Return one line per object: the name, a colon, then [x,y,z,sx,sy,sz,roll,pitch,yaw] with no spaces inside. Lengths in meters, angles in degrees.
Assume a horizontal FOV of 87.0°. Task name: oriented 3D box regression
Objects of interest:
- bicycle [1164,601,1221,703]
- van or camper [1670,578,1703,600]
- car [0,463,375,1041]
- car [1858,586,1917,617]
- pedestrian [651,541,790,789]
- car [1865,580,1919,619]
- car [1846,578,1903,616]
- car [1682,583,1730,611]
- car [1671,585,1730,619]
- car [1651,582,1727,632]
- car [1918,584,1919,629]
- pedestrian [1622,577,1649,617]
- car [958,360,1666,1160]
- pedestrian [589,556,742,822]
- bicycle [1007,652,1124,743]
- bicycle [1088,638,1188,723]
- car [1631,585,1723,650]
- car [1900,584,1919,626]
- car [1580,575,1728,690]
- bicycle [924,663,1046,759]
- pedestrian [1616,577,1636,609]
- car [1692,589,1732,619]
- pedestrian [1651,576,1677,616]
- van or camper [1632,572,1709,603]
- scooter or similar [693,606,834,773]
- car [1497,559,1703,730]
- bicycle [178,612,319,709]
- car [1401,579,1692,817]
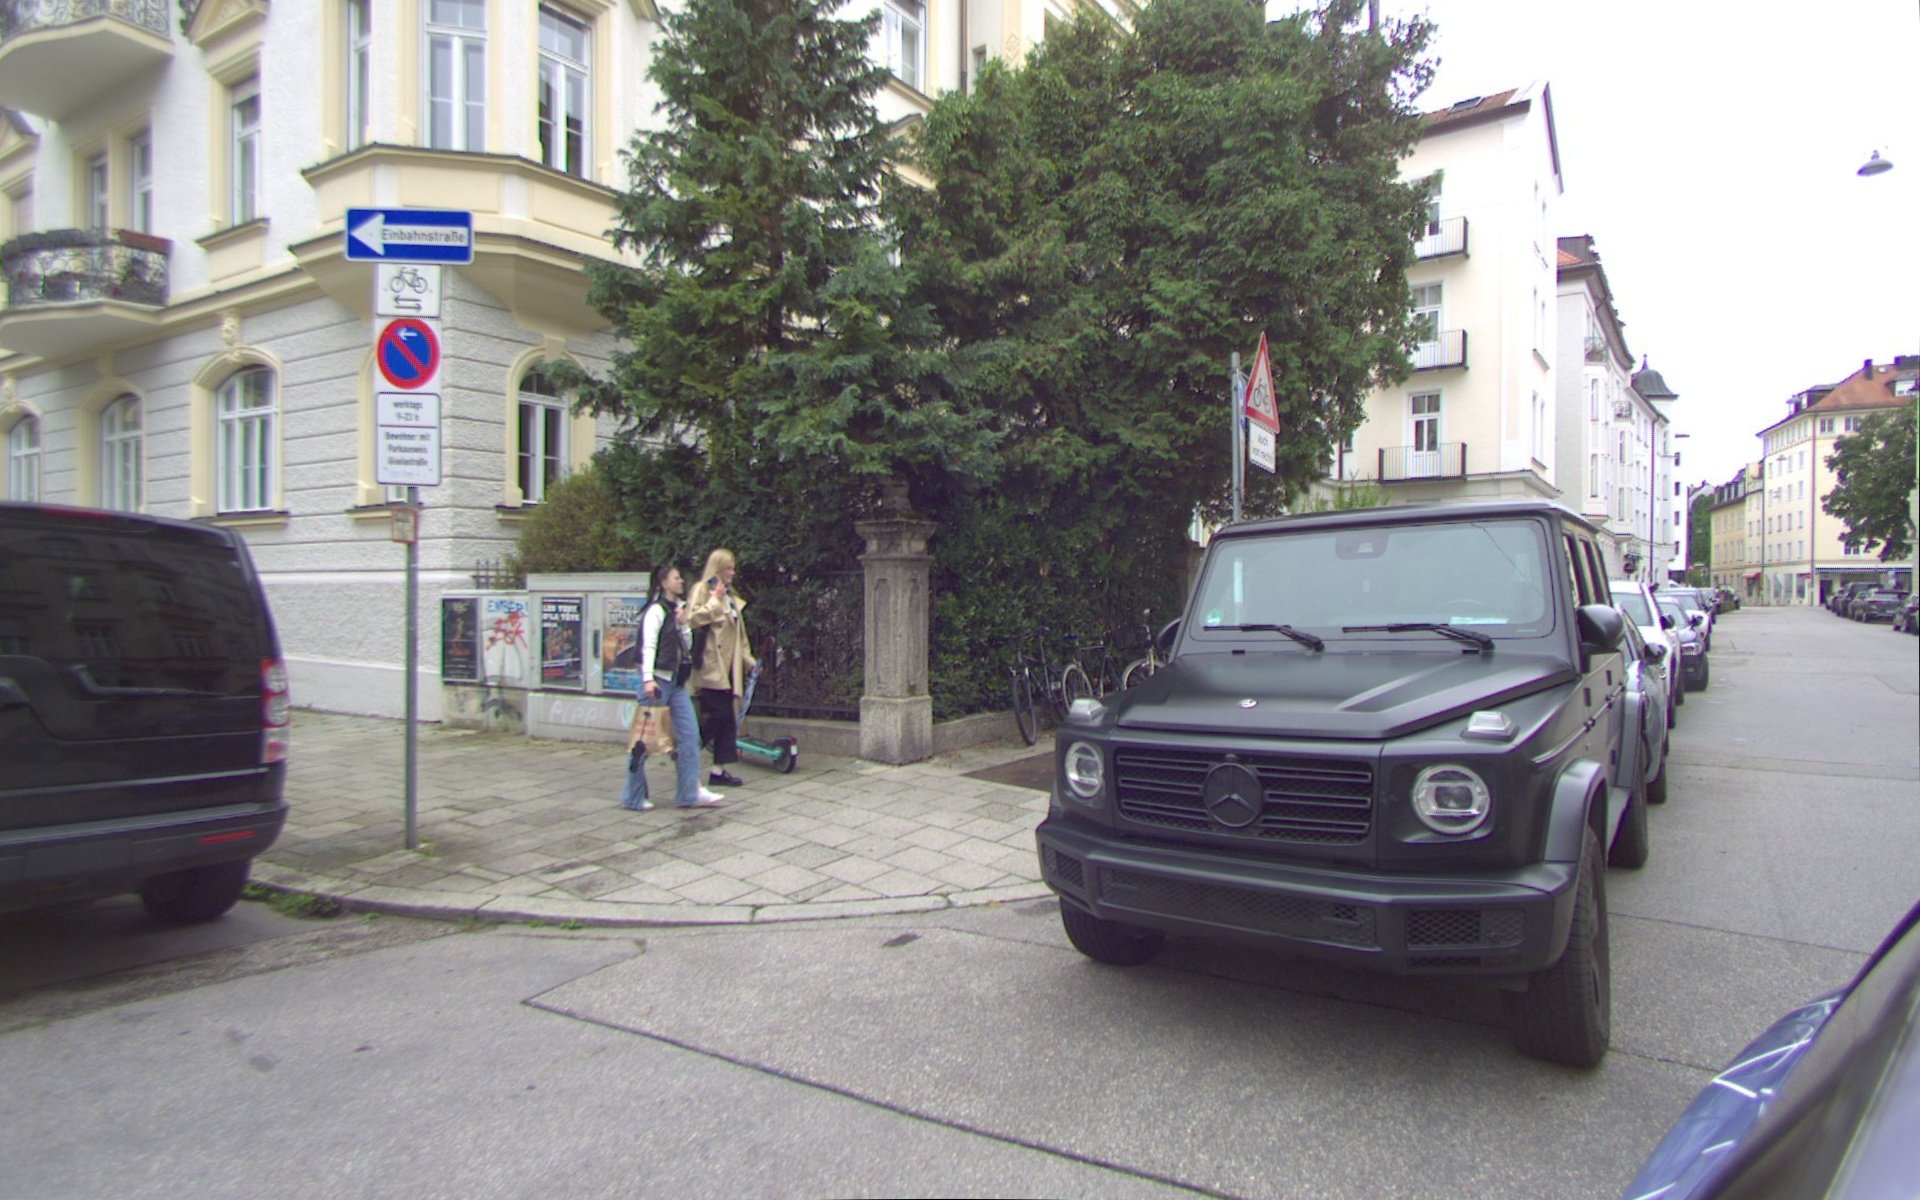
bicycle: [2.749,0.571,11.912,0.508,1.108,1.345,0,0,20]
van or camper: [84.231,-1.264,117.421,1.945,2.540,5.678,0,0,23]
car: [-5.046,0.491,4.899,4.507,1.975,1.882,1,-1,31]
car: [45.844,0.036,50.082,1.833,1.411,4.185,3,2,39]
pedestrian: [-1.788,0.437,7.550,0.734,1.723,0.686,3,3,41]
car: [42.043,-0.038,45.369,1.722,1.638,4.068,3,2,36]
car: [49.161,-0.188,54.476,1.832,1.918,4.699,3,2,37]
car: [39.938,-0.165,54.238,1.830,1.417,4.912,-2,-1,34]
car: [33.913,0.070,46.315,1.990,1.476,4.647,0,0,39]
car: [25.339,0.220,35.108,1.819,1.589,4.337,-3,-2,40]
car: [32.830,0.287,32.873,1.777,1.560,4.205,3,2,34]
pedestrian: [31.491,-0.147,47.167,0.883,1.834,1.094,0,0,43]
car: [2.147,0.419,4.956,1.946,1.979,4.603,-2,-1,37]
pedestrian: [-1.957,0.541,6.761,0.702,1.648,0.682,2,2,30]
bicycle: [1.057,0.924,9.906,0.512,0.744,1.335,0,1,38]
bicycle: [1.955,0.848,11.006,0.512,0.791,1.335,0,1,38]
car: [18.549,0.402,26.116,1.780,1.523,4.010,-1,0,38]
car: [35.556,0.192,36.622,1.789,1.432,4.221,3,3,37]
car: [11.383,0.475,16.685,1.743,1.631,4.369,-2,-1,34]
bicycle: [0.233,0.944,8.877,0.512,0.691,1.107,0,1,38]
pedestrian: [38.598,-0.393,58.619,0.881,1.836,1.095,0,0,39]
car: [45.423,0.213,61.127,1.795,1.696,4.133,-4,-2,37]
pedestrian: [32.621,-0.193,46.912,0.882,1.809,1.094,0,0,41]
van or camper: [66.884,-1.126,95.398,5.825,2.749,2.277,0,-2,32]
scooter or similar: [-1.597,0.674,8.130,1.346,1.204,0.366,1,2,41]
car: [8.233,0.448,12.828,1.719,1.791,4.353,-3,-1,38]
bicycle: [-8.975,0.719,12.726,2.393,1.119,0.532,0,0,31]
car: [5.087,0.641,8.577,1.717,1.538,3.584,-3,-1,36]
